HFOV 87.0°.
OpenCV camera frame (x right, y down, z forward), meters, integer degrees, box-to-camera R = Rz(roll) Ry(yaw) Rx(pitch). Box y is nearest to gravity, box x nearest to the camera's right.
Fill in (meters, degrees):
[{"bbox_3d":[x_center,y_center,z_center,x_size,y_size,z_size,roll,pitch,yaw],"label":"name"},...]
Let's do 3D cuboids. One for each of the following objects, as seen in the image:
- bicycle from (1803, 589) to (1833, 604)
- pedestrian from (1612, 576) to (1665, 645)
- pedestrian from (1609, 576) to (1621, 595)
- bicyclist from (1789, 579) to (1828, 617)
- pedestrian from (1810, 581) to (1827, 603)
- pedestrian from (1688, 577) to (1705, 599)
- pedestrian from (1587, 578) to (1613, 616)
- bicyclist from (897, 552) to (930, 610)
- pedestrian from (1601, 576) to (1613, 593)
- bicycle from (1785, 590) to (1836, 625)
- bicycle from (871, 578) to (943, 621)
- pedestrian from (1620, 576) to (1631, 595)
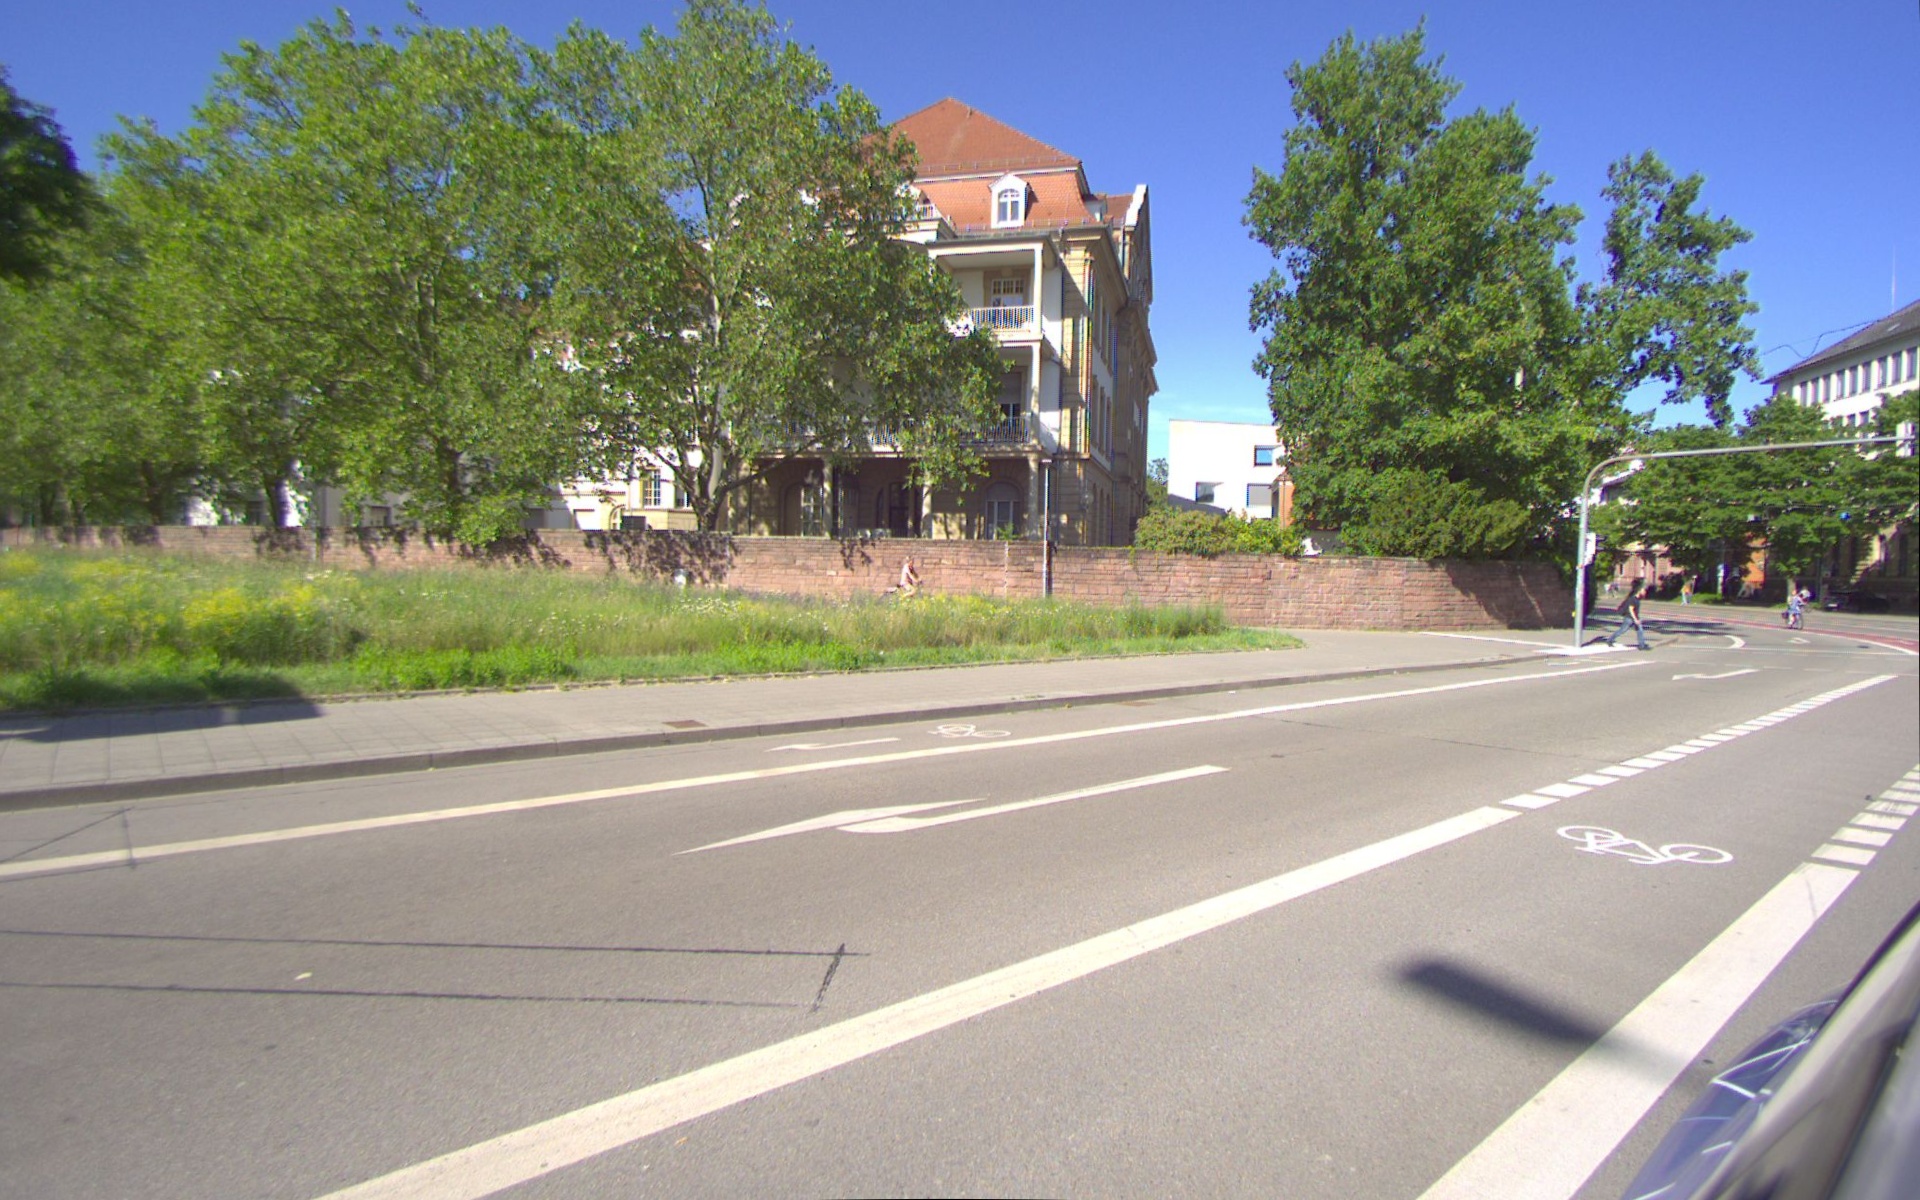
[{"bbox_3d":[56.735,-0.236,66.937,0.591,1.019,1.982,0,1,9],"label":"bicycle"},{"bbox_3d":[19.189,0.273,28.629,0.718,1.872,0.962,0,3,-36],"label":"pedestrian"},{"bbox_3d":[66.900,-1.482,103.362,0.747,1.836,0.975,1,-2,16],"label":"pedestrian"},{"bbox_3d":[36.646,-0.097,43.714,0.859,1.579,1.272,2,2,20],"label":"bicyclist"},{"bbox_3d":[56.702,-0.518,66.859,0.586,1.420,0.644,0,0,10],"label":"pedestrian"},{"bbox_3d":[62.800,-1.026,86.325,0.745,1.835,0.978,1,1,9],"label":"pedestrian"},{"bbox_3d":[30.044,-0.165,47.493,0.935,1.742,0.983,2,2,37],"label":"pedestrian"},{"bbox_3d":[-1.338,-0.559,28.997,0.766,1.626,0.720,1,1,13],"label":"bicyclist"},{"bbox_3d":[69.795,-1.706,109.220,0.745,1.835,0.978,1,1,10],"label":"pedestrian"},{"bbox_3d":[36.588,0.296,43.581,0.753,1.385,2.720,2,2,20],"label":"bicycle"},{"bbox_3d":[-1.522,-0.017,29.049,1.857,1.083,0.722,5,0,13],"label":"bicycle"},{"bbox_3d":[67.885,-1.486,103.218,0.748,1.836,0.974,1,-2,19],"label":"pedestrian"}]
